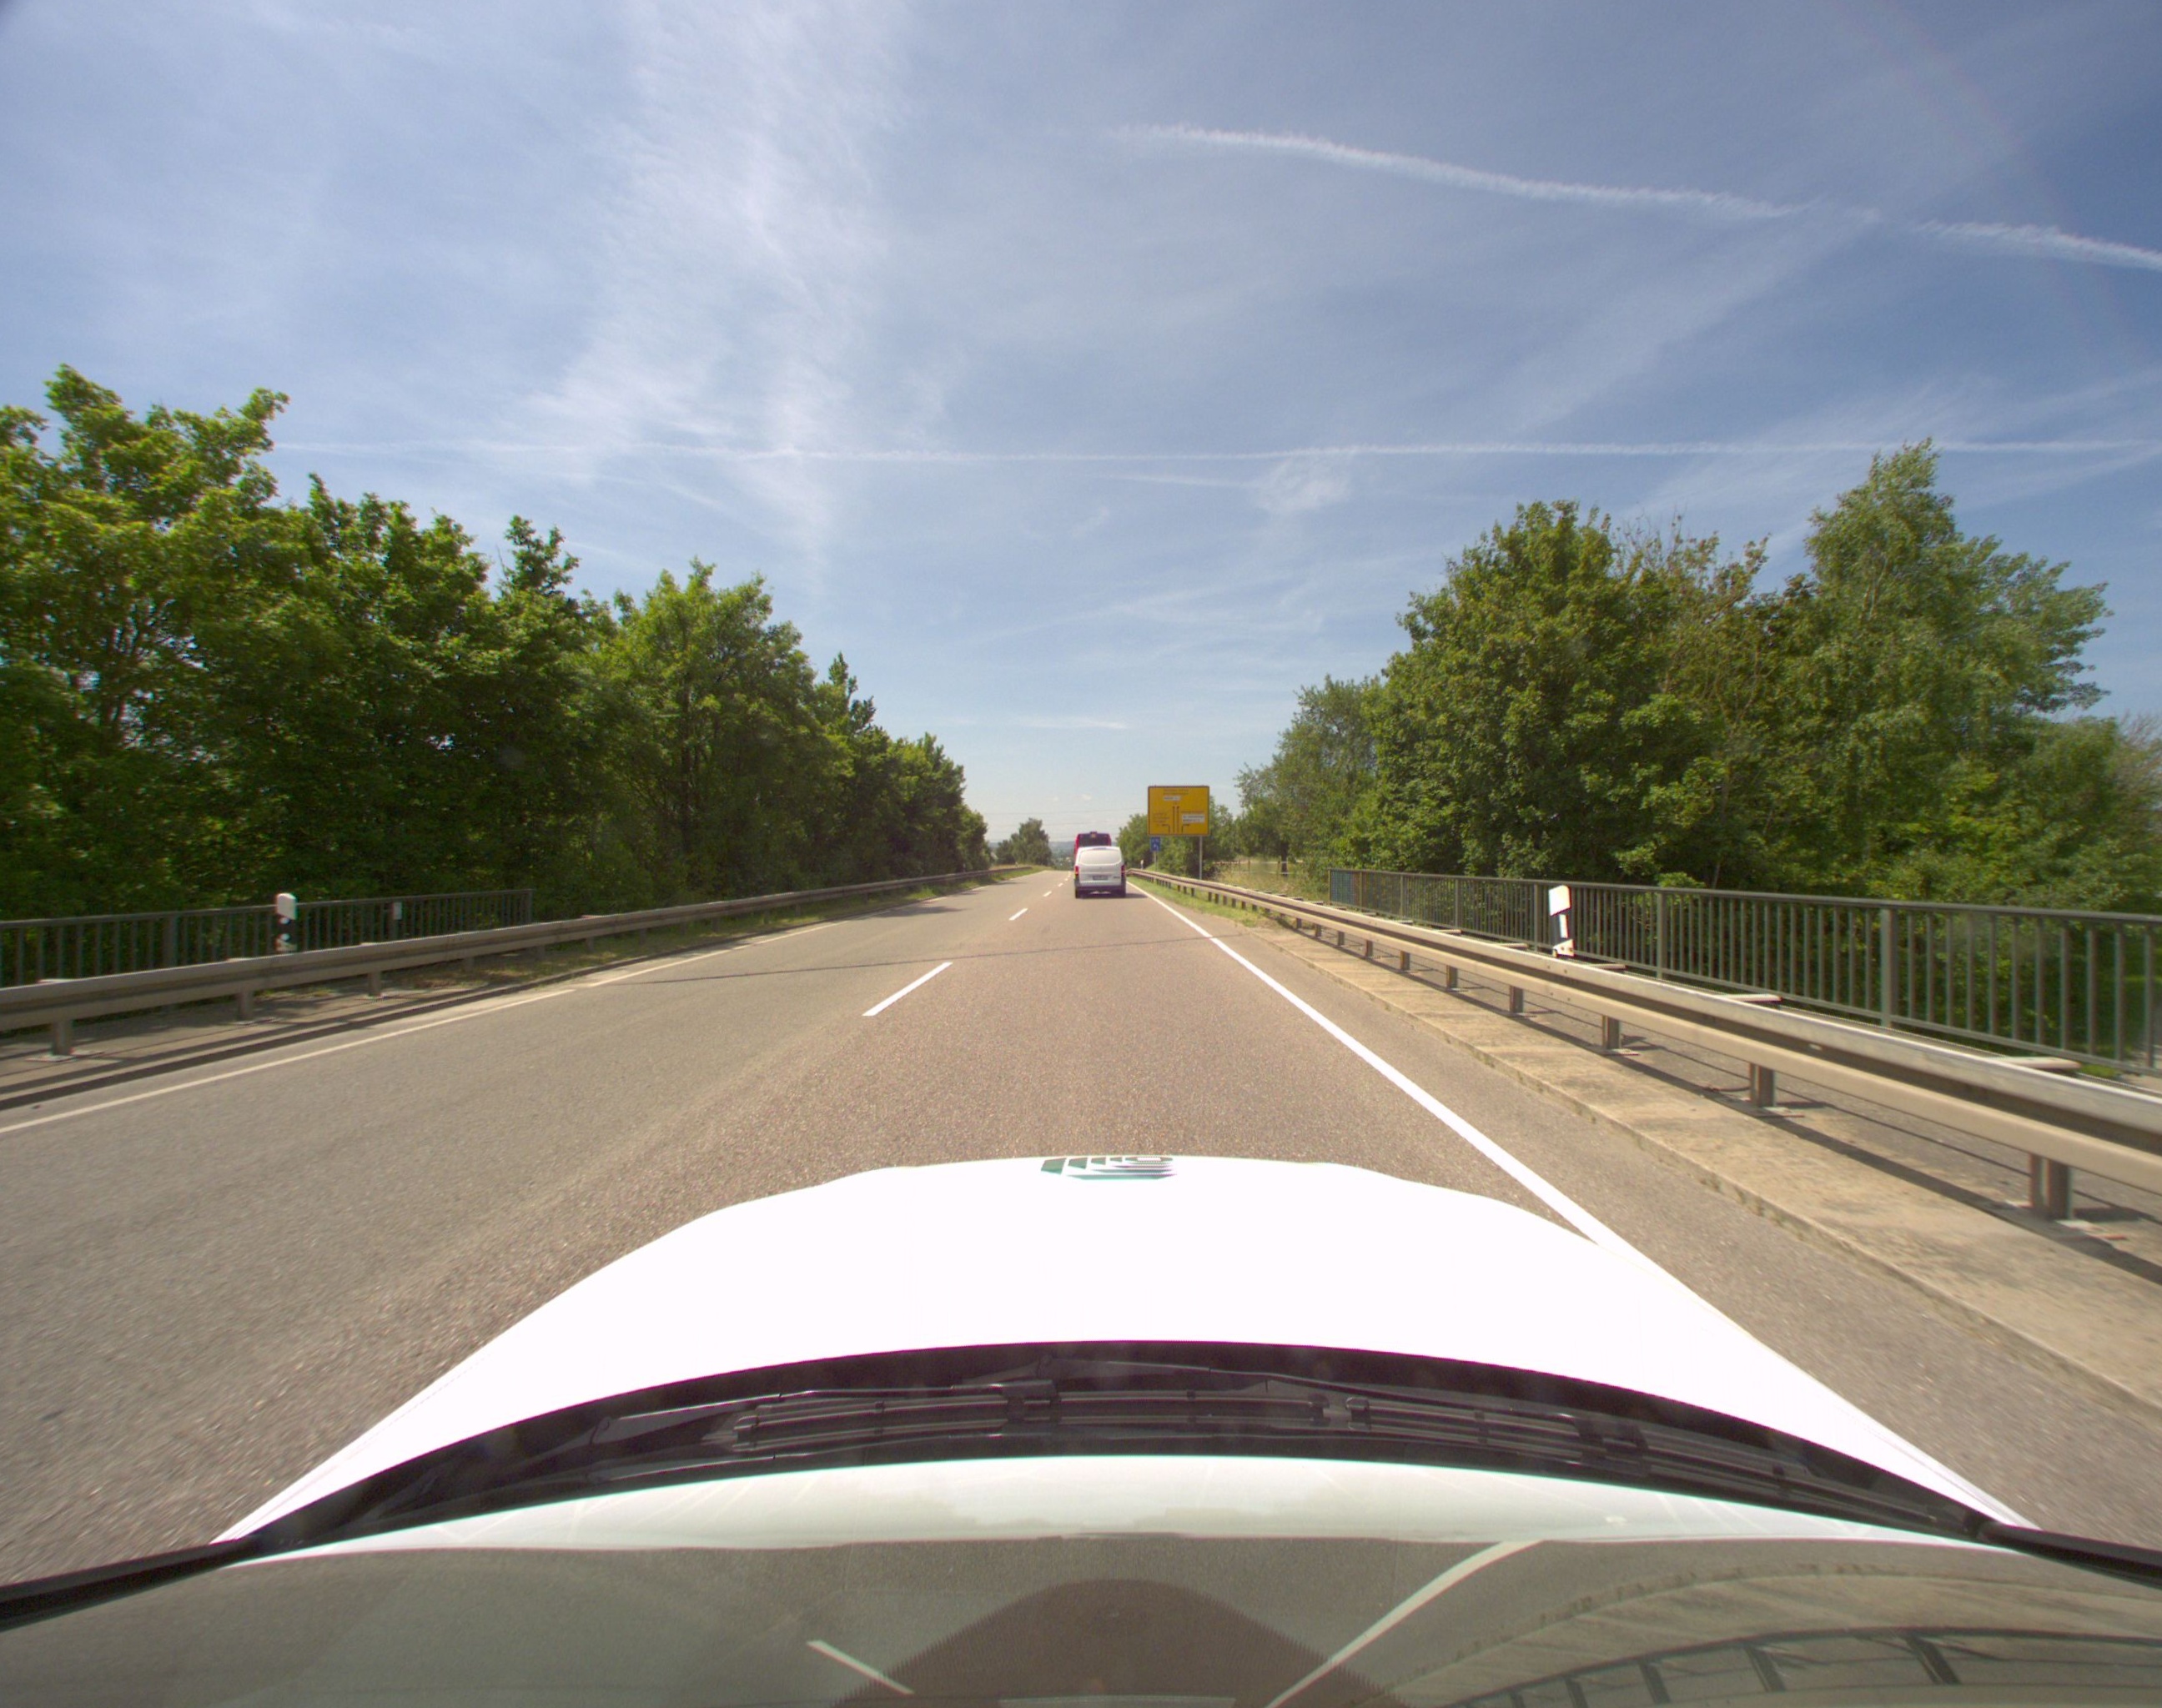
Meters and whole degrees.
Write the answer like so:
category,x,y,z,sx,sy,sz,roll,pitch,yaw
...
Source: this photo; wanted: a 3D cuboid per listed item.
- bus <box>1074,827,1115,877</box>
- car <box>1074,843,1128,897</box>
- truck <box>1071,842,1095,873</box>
category,x,y,z,sx,sy,sz,roll,pitch,yaw
bus,0.869,-0.161,62.280,2.738,3.353,13.218,-1,0,0
car,0.767,0.560,30.957,1.916,1.889,4.001,0,0,1
truck,0.190,0.471,127.583,3.478,4.423,14.897,-1,0,-1
